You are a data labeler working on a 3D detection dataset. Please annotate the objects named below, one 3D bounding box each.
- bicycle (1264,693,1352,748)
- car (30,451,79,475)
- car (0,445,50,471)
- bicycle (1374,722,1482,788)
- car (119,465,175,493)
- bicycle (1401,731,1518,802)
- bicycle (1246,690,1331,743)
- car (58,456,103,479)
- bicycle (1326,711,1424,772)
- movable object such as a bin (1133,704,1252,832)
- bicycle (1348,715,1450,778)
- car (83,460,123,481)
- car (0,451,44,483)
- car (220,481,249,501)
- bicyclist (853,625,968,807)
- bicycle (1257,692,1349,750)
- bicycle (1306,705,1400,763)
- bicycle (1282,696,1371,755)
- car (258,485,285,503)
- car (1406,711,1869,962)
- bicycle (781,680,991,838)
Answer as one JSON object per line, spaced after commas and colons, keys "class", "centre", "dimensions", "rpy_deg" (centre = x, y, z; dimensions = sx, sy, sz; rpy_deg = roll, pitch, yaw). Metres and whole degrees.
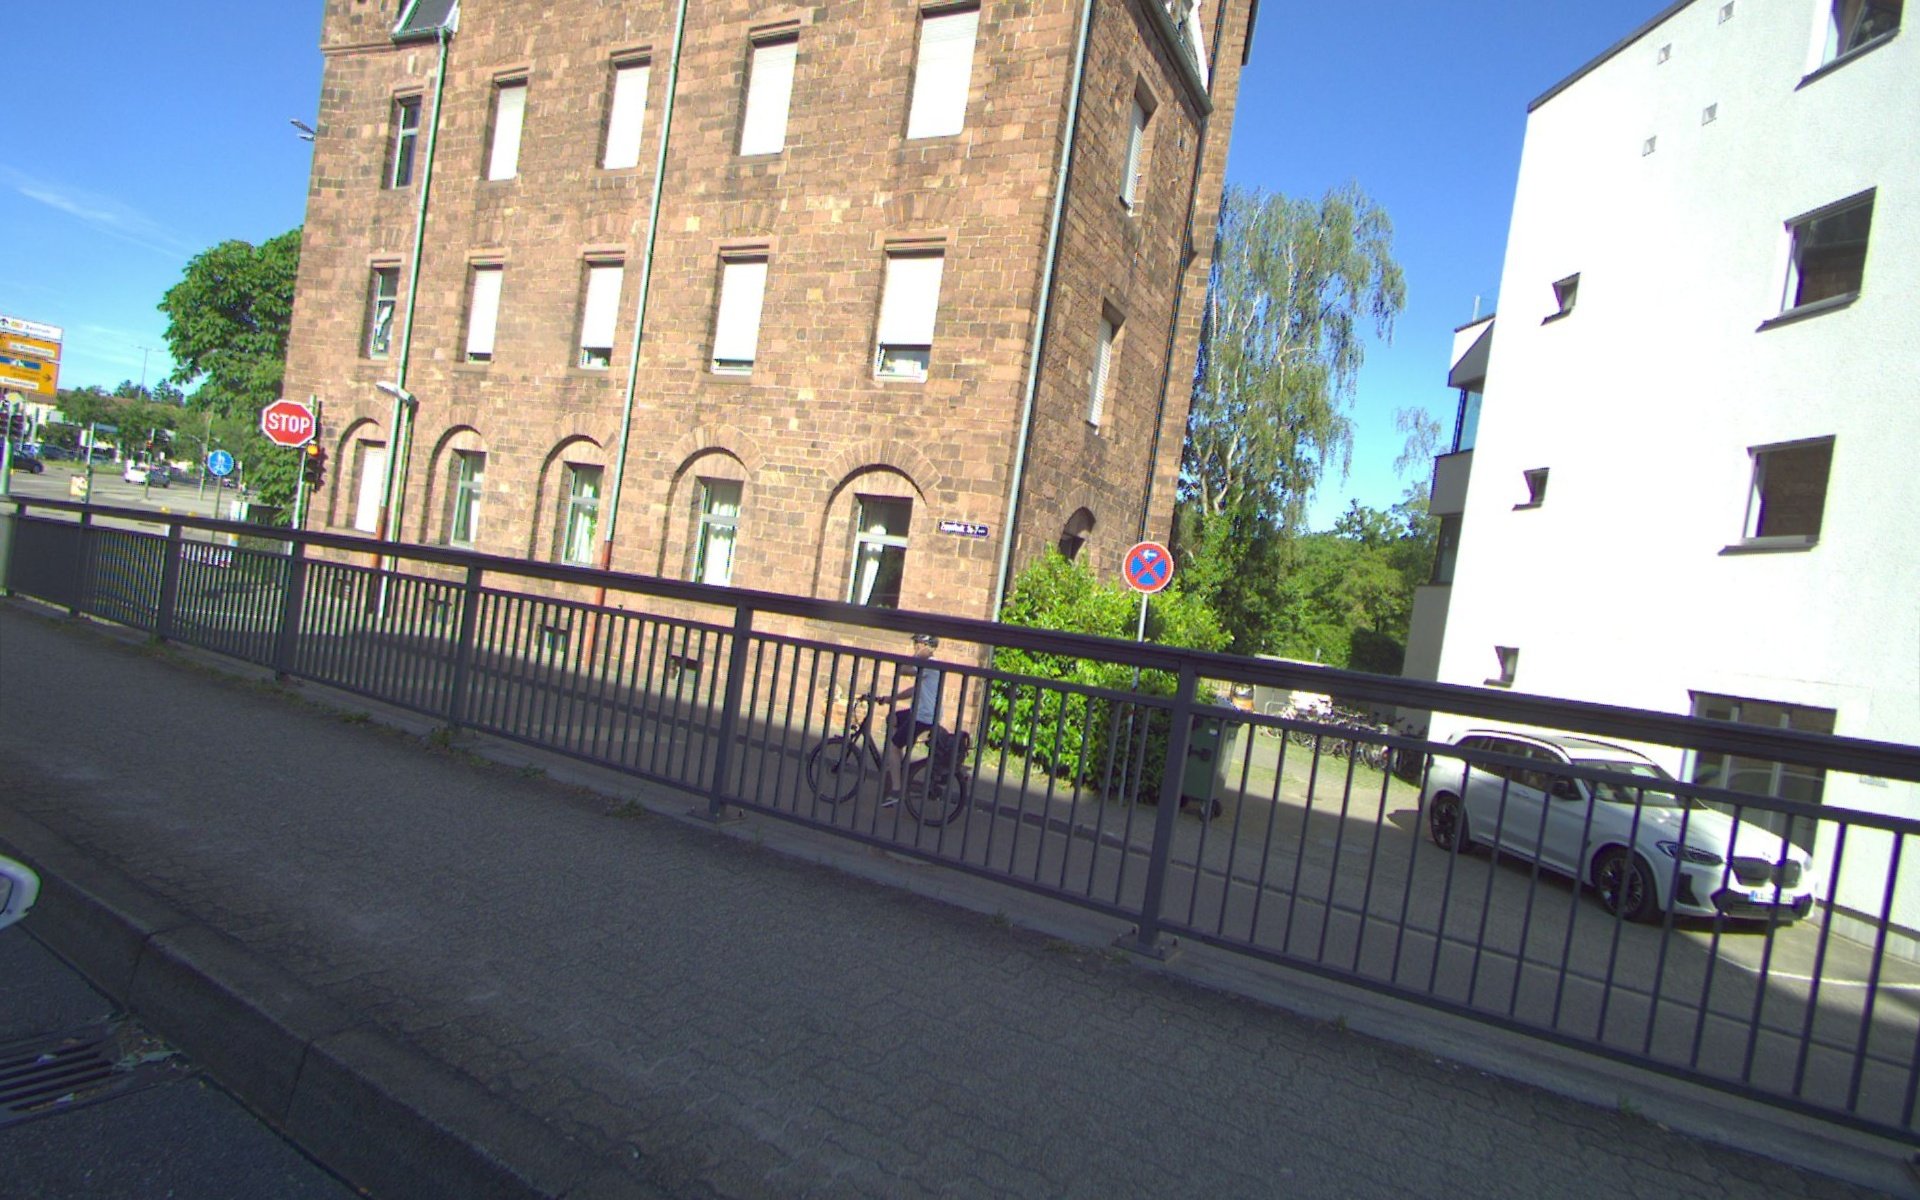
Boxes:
{"class": "bicycle", "centre": [9.462, 3.265, 27.357], "dimensions": [2.075, 1.174, 0.664], "rpy_deg": [8, 1, -10]}
{"class": "car", "centre": [-81.315, -12.303, 90.391], "dimensions": [1.860, 1.598, 3.977], "rpy_deg": [8, 1, -22]}
{"class": "car", "centre": [-78.846, -11.917, 84.713], "dimensions": [1.860, 1.598, 3.977], "rpy_deg": [8, 1, -22]}
{"class": "bicycle", "centre": [9.941, 3.290, 21.399], "dimensions": [1.889, 1.065, 0.664], "rpy_deg": [8, 1, -6]}
{"class": "car", "centre": [-63.344, -9.404, 78.455], "dimensions": [1.863, 1.650, 3.984], "rpy_deg": [8, 0, -17]}
{"class": "bicycle", "centre": [9.793, 3.269, 19.768], "dimensions": [1.889, 1.065, 0.664], "rpy_deg": [8, 1, -6]}
{"class": "bicycle", "centre": [9.211, 3.263, 28.207], "dimensions": [2.075, 1.174, 0.664], "rpy_deg": [8, 1, -10]}
{"class": "car", "centre": [-84.511, -12.729, 96.717], "dimensions": [1.860, 1.598, 3.977], "rpy_deg": [8, 1, -22]}
{"class": "bicycle", "centre": [9.566, 3.259, 23.198], "dimensions": [1.889, 1.065, 0.664], "rpy_deg": [8, 1, -6]}
{"class": "movable object such as a bin", "centre": [2.881, 2.026, 12.398], "dimensions": [1.011, 1.307, 1.005], "rpy_deg": [10, 0, 29]}
{"class": "bicycle", "centre": [9.729, 3.242, 22.311], "dimensions": [1.889, 1.065, 0.664], "rpy_deg": [8, 1, -6]}
{"class": "car", "centre": [-89.290, -13.468, 104.811], "dimensions": [1.860, 1.598, 3.977], "rpy_deg": [8, 1, -22]}
{"class": "car", "centre": [-60.598, -8.549, 63.543], "dimensions": [1.858, 1.650, 3.995], "rpy_deg": [8, 0, -6]}
{"class": "car", "centre": [-82.679, -12.420, 114.695], "dimensions": [1.868, 1.565, 3.977], "rpy_deg": [8, -2, -25]}
{"class": "bicyclist", "centre": [-0.471, 1.121, 9.889], "dimensions": [0.683, 1.627, 0.688], "rpy_deg": [9, 0, 20]}
{"class": "bicycle", "centre": [8.970, 3.161, 26.319], "dimensions": [2.075, 1.174, 0.664], "rpy_deg": [8, 1, -10]}
{"class": "bicycle", "centre": [9.452, 3.224, 24.224], "dimensions": [1.889, 1.065, 0.664], "rpy_deg": [8, 1, -6]}
{"class": "bicycle", "centre": [9.240, 3.162, 25.389], "dimensions": [1.889, 1.174, 0.664], "rpy_deg": [8, 1, -6]}
{"class": "car", "centre": [-77.438, -11.874, 113.160], "dimensions": [1.723, 1.516, 3.976], "rpy_deg": [7, -1, -25]}
{"class": "car", "centre": [7.658, 2.585, 12.086], "dimensions": [1.814, 1.707, 4.520], "rpy_deg": [8, 0, -10]}
{"class": "bicycle", "centre": [-0.730, 1.526, 9.959], "dimensions": [1.804, 1.154, 0.690], "rpy_deg": [9, 0, 20]}
